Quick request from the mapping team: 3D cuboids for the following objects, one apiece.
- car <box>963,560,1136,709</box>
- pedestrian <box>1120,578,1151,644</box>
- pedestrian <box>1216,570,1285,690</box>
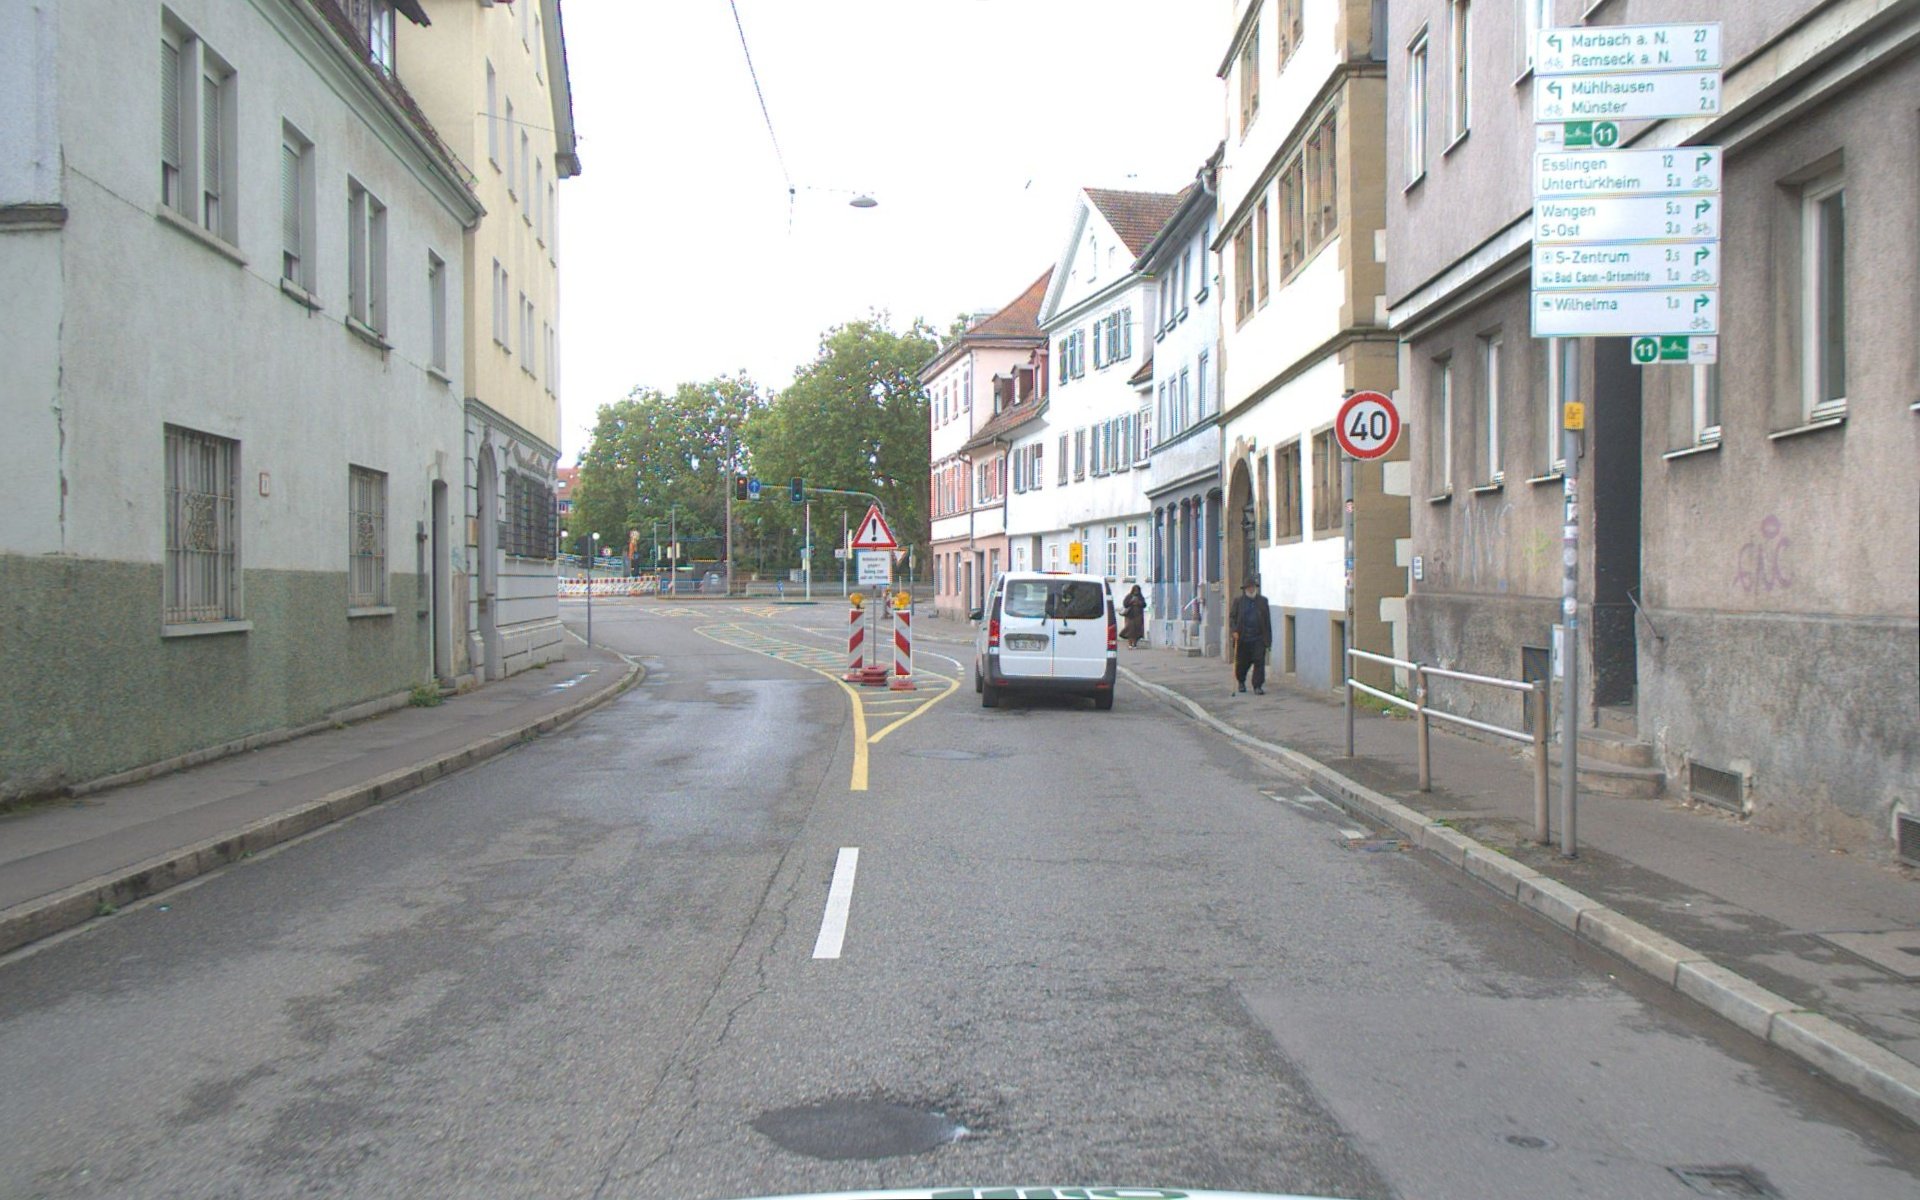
[{"bbox_3d":[1.216,0.470,24.319,1.954,1.956,4.245,1,0,-5],"label":"car"},{"bbox_3d":[4.554,0.287,43.025,0.739,1.696,0.809,0,0,1],"label":"pedestrian"},{"bbox_3d":[4.225,0.425,24.113,0.814,1.684,0.944,-2,0,2],"label":"pedestrian"}]
